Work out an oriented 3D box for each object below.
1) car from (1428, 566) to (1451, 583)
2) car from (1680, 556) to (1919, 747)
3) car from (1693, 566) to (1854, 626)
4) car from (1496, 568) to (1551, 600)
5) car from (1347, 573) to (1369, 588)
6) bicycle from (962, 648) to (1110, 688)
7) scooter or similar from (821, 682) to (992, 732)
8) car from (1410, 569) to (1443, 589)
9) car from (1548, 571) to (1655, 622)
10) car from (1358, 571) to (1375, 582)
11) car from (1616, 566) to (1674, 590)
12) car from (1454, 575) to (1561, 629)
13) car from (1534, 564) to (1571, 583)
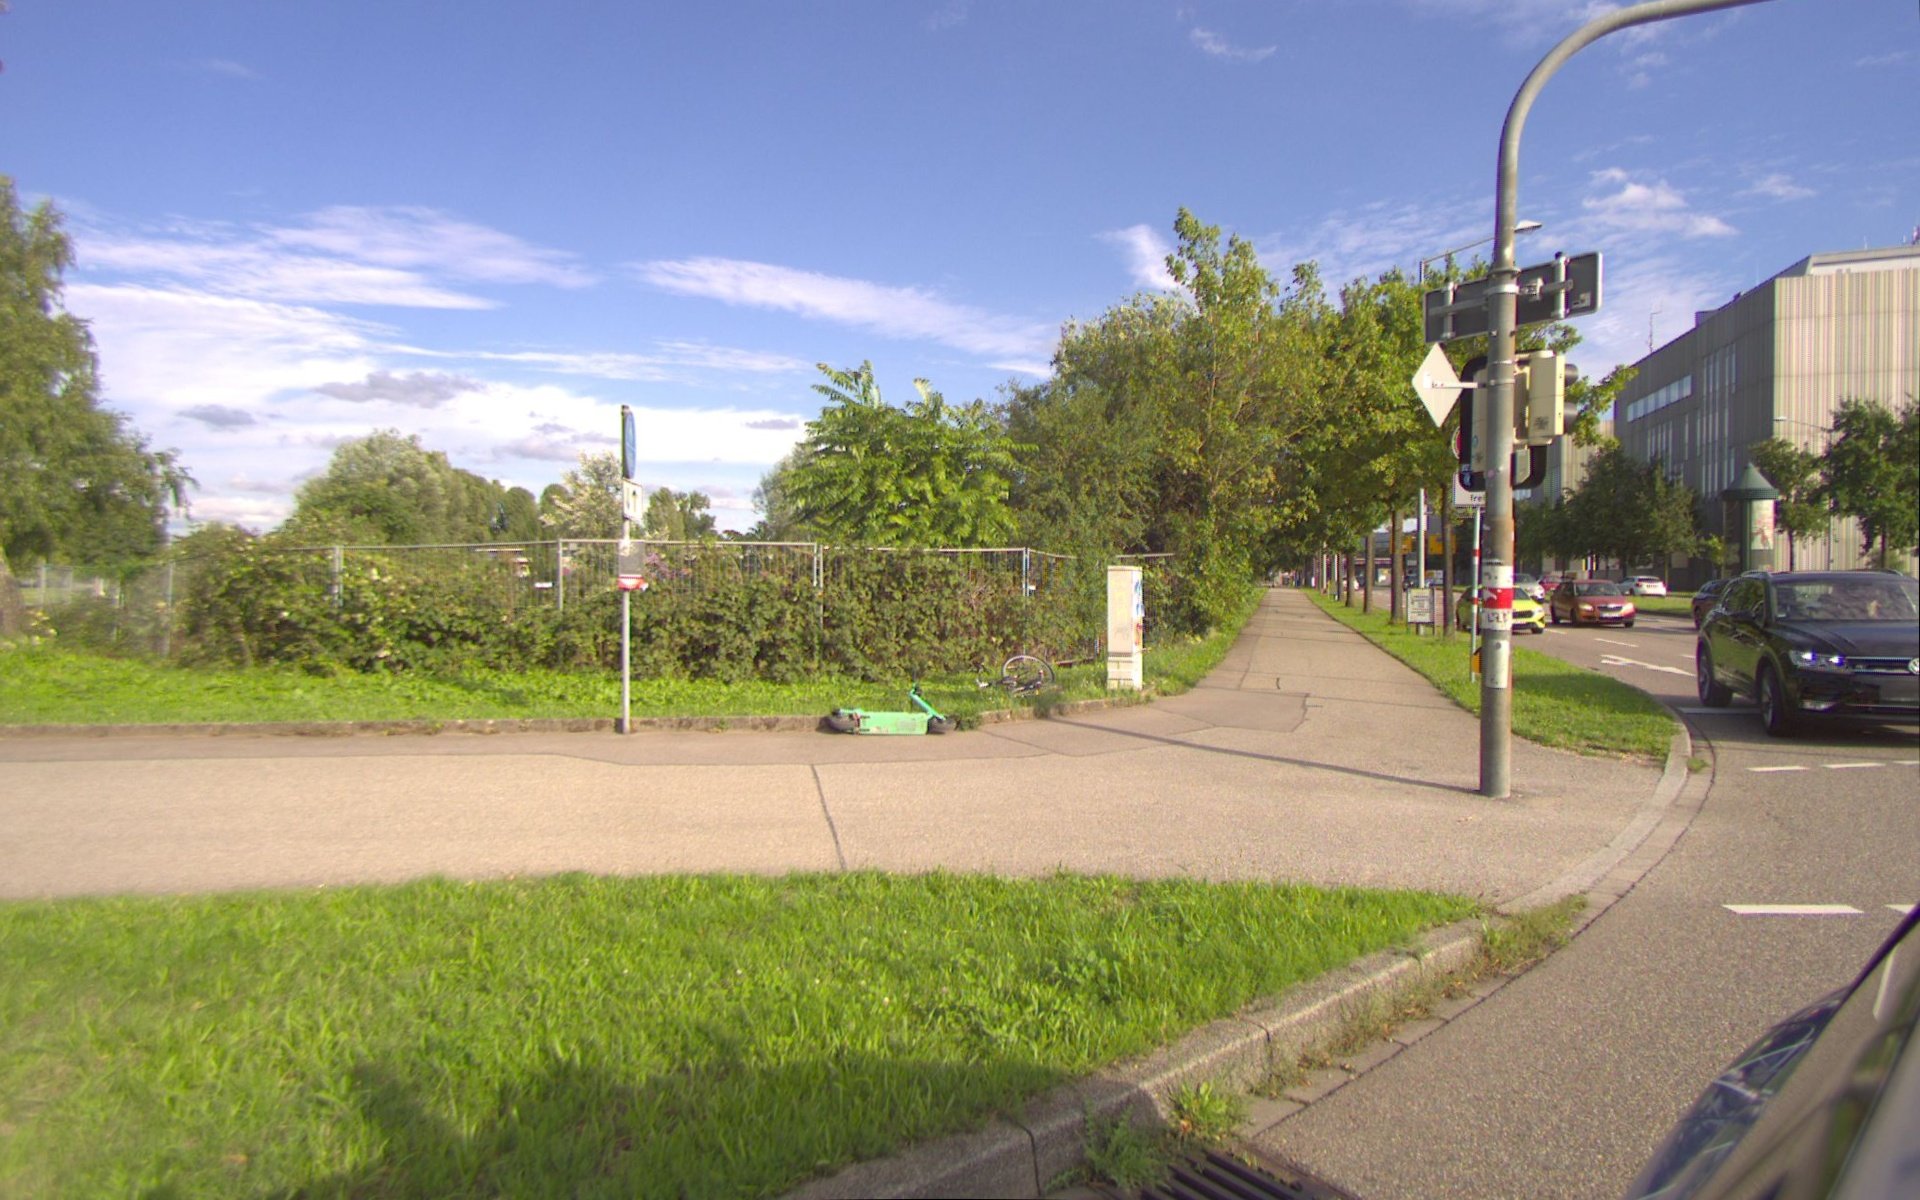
[{"bbox_3d":[64.639,-3.451,136.424,2.006,2.282,5.511,2,2,18],"label":"car"},{"bbox_3d":[9.593,0.385,11.156,1.854,1.676,4.971,-1,1,26],"label":"car"},{"bbox_3d":[21.731,-0.150,27.255,1.799,1.438,4.424,-1,1,17],"label":"car"},{"bbox_3d":[29.982,-0.905,53.926,1.672,1.492,4.206,-1,3,17],"label":"car"},{"bbox_3d":[39.132,-1.913,99.617,1.714,1.407,3.978,0,1,18],"label":"car"},{"bbox_3d":[0.852,0.797,12.236,1.067,0.350,2.254,-1,-1,-16],"label":"bicycle"},{"bbox_3d":[-0.547,1.002,9.663,1.522,0.284,1.295,0,1,-6],"label":"scooter or similar"},{"bbox_3d":[39.875,-1.809,86.656,1.973,1.682,4.777,0,1,17],"label":"car"},{"bbox_3d":[20.298,-0.155,32.212,1.670,1.493,4.208,-1,1,15],"label":"car"},{"bbox_3d":[50.854,-2.917,126.648,1.714,1.407,3.978,0,1,18],"label":"car"},{"bbox_3d":[42.930,-1.390,63.496,1.660,1.451,3.979,0,1,13],"label":"car"},{"bbox_3d":[16.397,0.019,30.571,1.871,1.438,4.585,-2,1,17],"label":"car"},{"bbox_3d":[47.690,-2.127,81.497,1.662,1.451,3.574,0,1,16],"label":"car"}]
